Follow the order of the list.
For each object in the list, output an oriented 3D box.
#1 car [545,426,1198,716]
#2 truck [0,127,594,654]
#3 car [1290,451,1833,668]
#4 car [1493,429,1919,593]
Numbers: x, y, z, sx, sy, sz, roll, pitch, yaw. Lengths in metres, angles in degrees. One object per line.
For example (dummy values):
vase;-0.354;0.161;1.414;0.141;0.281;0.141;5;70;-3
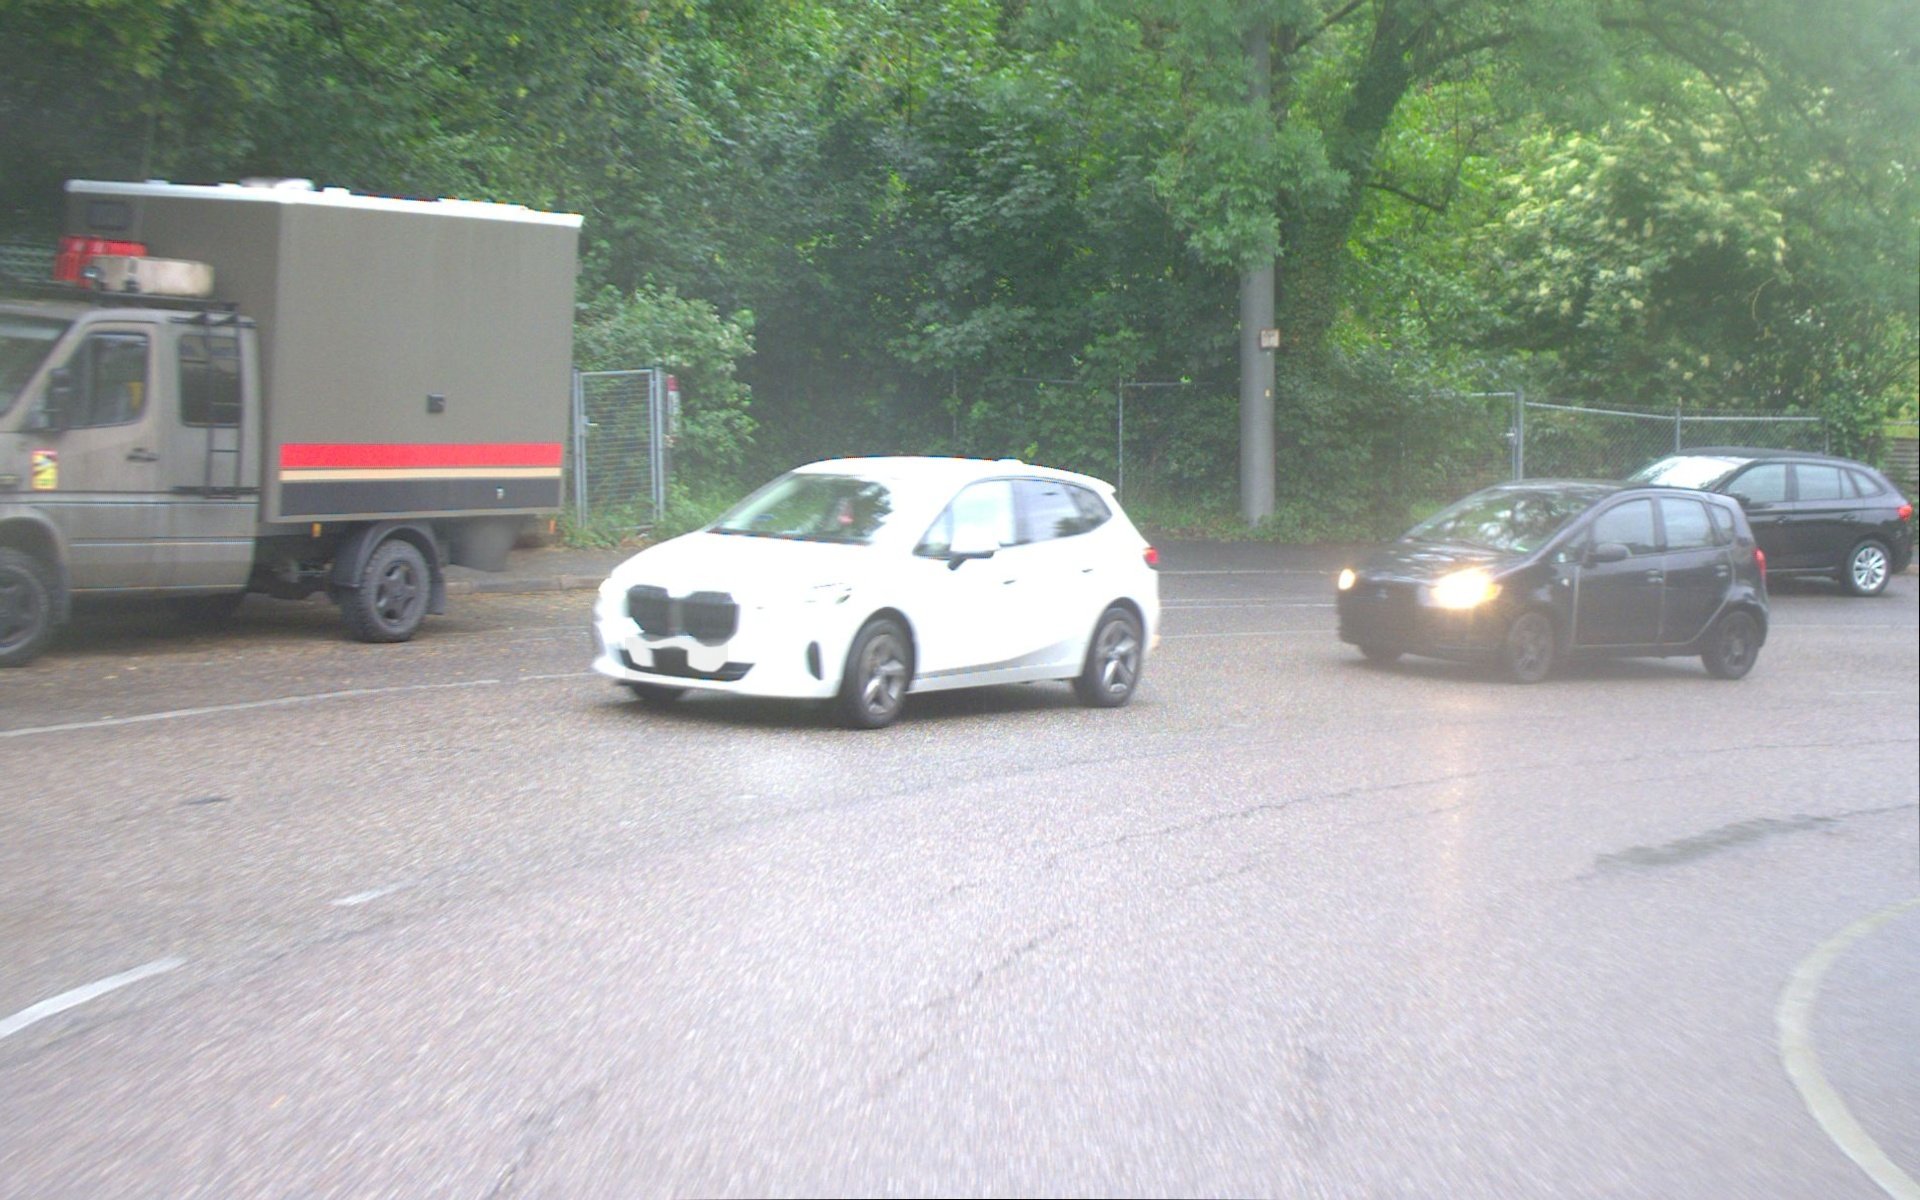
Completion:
car;-0.436;-0.219;21.727;1.802;1.564;4.447;5;3;34
truck;-5.295;-1.372;22.872;2.037;3.092;6.603;6;4;29
car;4.823;-0.307;27.430;4.072;1.513;1.766;1;5;-34
car;7.962;-0.936;36.237;4.298;1.460;1.785;0;7;-27
